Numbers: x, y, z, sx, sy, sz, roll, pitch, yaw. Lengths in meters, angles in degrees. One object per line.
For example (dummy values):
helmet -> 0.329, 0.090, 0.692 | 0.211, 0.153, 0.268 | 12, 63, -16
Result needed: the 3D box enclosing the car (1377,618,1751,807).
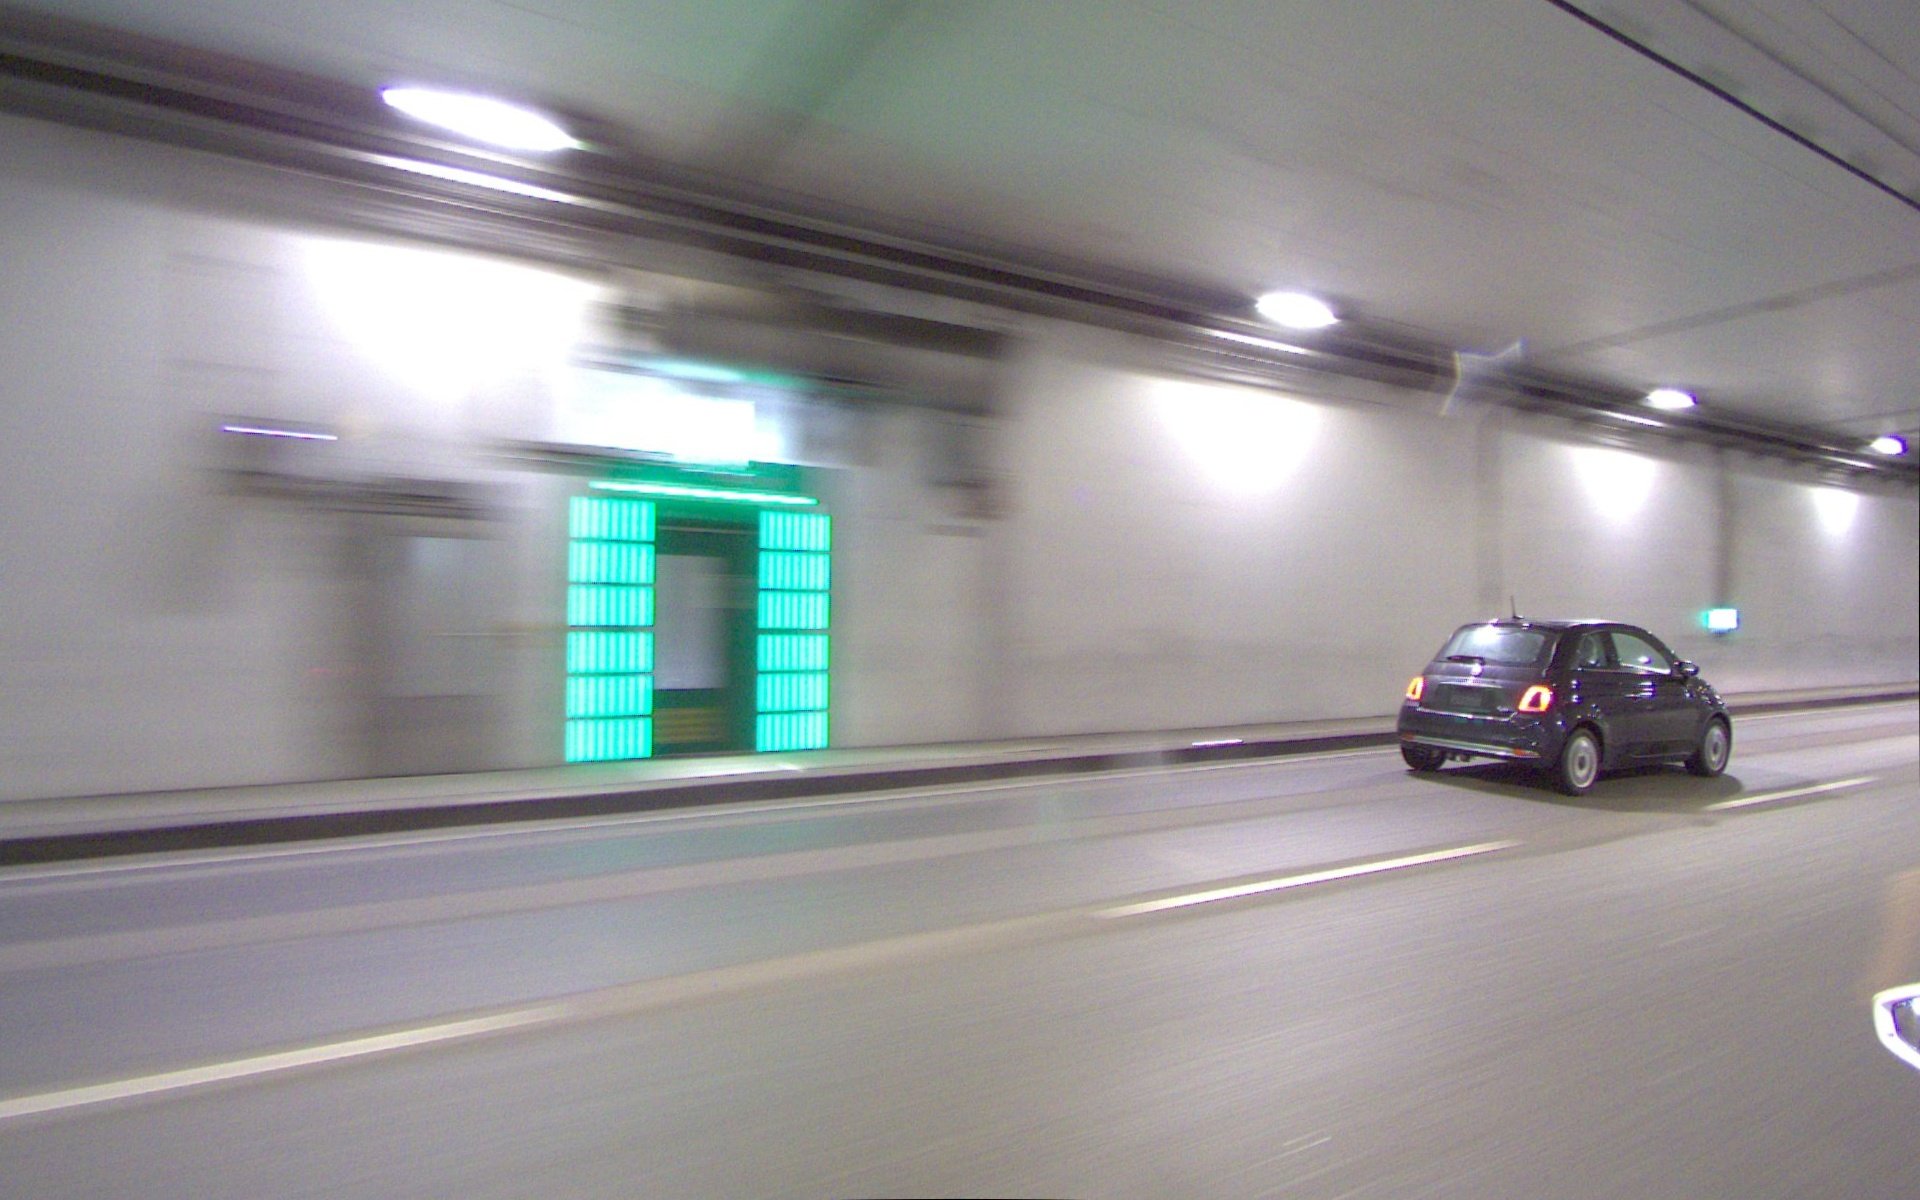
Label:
car -> 5.801, 0.920, 9.575 | 3.531, 1.474, 1.604 | 0, 0, -31
